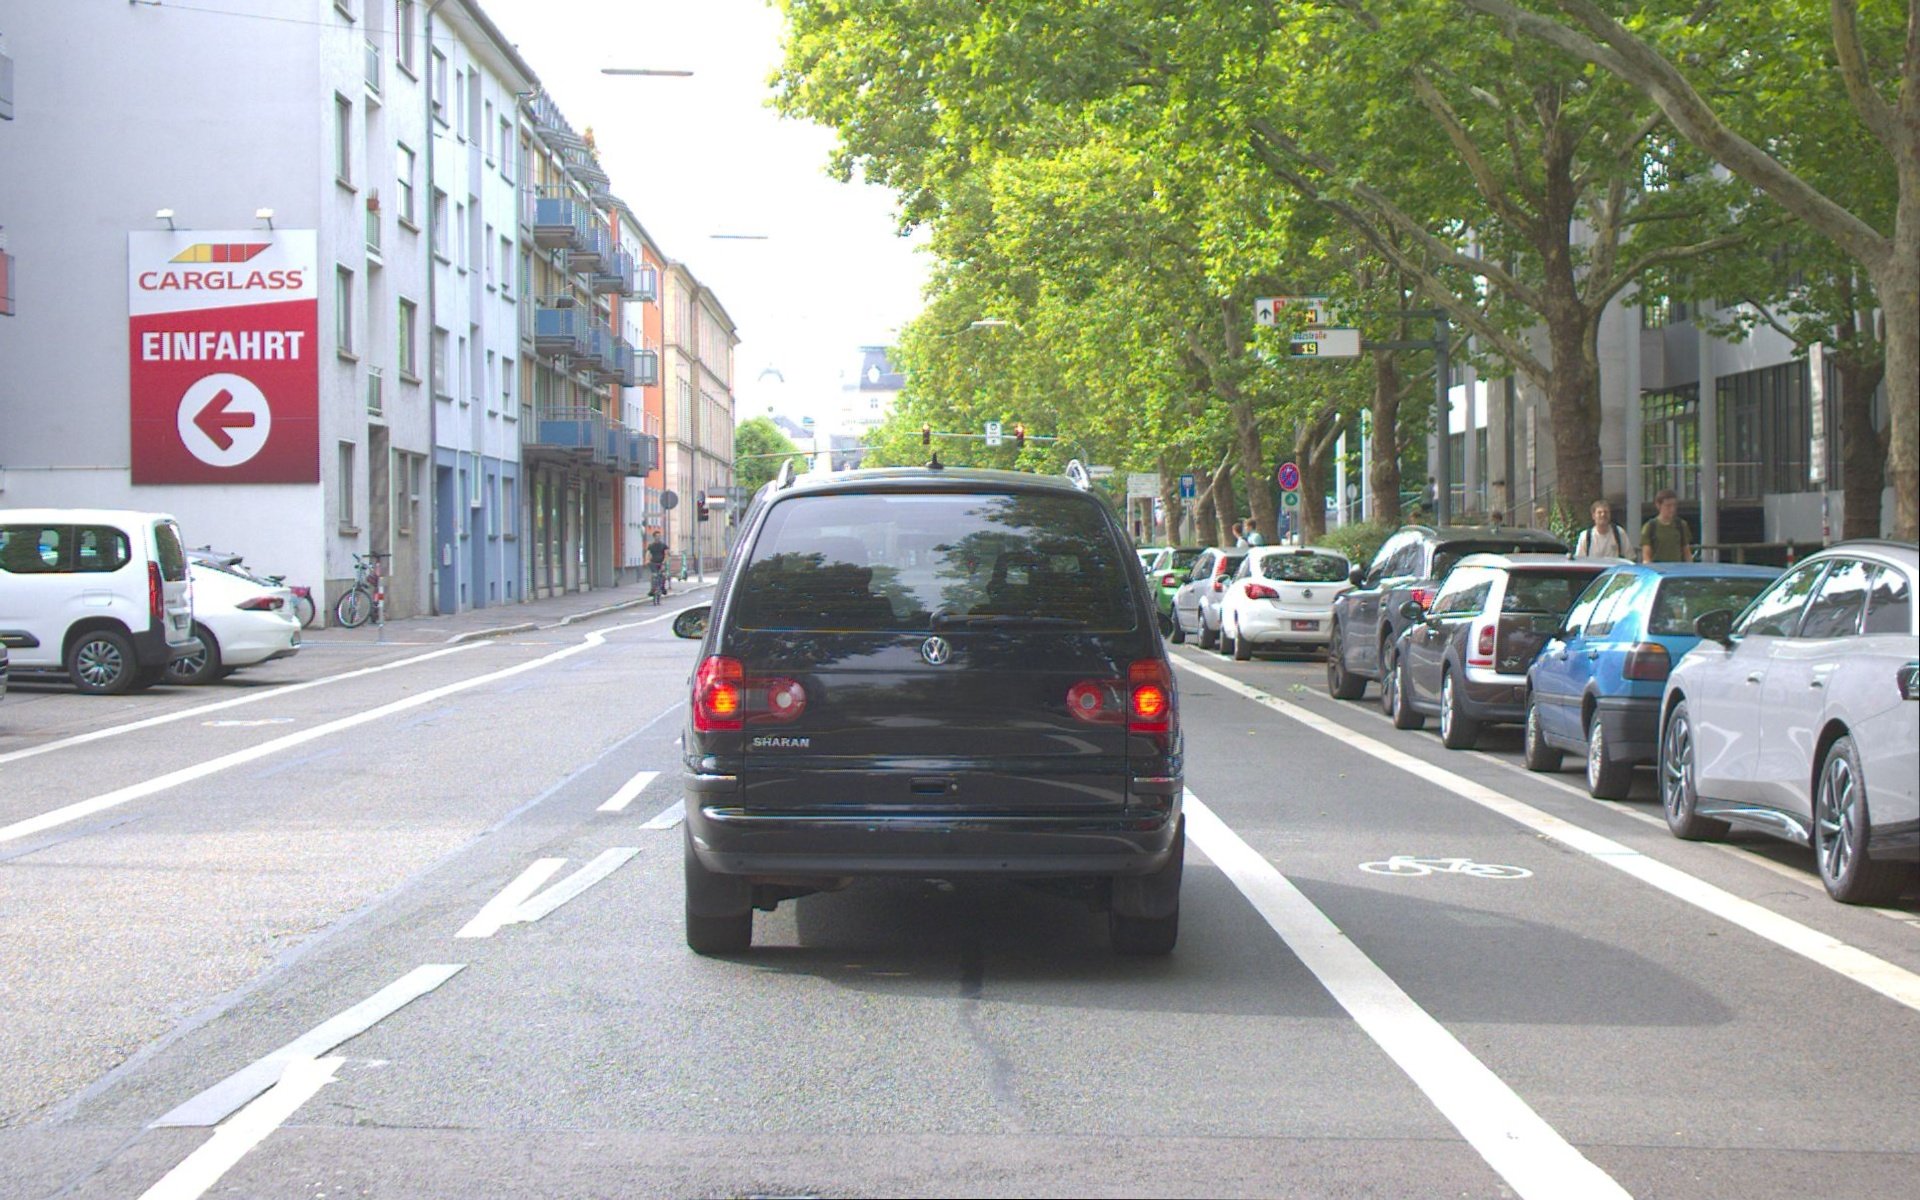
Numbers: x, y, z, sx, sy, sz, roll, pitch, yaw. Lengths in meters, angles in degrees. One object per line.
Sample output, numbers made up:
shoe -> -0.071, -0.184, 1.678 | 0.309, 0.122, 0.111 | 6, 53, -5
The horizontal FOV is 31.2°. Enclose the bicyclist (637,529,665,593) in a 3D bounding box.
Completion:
bicyclist -> -7.984, -1.003, 88.860 | 0.653, 1.606, 0.656 | 1, -2, -3

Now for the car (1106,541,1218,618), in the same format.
car -> 3.830, -0.410, 65.692 | 1.641, 1.390, 3.513 | 2, 1, -4

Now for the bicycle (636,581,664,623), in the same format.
bicycle -> -7.985, 0.057, 88.614 | 0.631, 1.030, 2.015 | 1, -2, -3

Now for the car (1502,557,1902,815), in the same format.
car -> 4.516, 0.459, 21.465 | 1.622, 1.381, 4.000 | 2, 1, 1

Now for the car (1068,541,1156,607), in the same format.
car -> 3.546, -0.626, 80.536 | 1.641, 1.482, 3.513 | 0, 1, -4

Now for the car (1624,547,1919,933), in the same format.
car -> 4.483, 0.528, 15.922 | 1.727, 1.511, 4.872 | 1, 1, -2

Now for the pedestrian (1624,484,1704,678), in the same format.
pedestrian -> 7.268, -0.206, 35.527 | 0.643, 1.968, 0.692 | 1, 2, 1

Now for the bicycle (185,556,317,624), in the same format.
bicycle -> -11.238, -0.164, 54.500 | 2.009, 1.030, 0.410 | 1, 2, 1

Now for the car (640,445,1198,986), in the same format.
car -> -0.183, 0.360, 13.129 | 1.812, 1.760, 3.738 | 0, 1, -2

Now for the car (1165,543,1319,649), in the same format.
car -> 3.994, -0.084, 49.198 | 1.641, 1.409, 3.417 | 2, 1, -4

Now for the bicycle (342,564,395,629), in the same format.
bicycle -> -9.644, -0.064, 56.075 | 0.631, 1.030, 2.015 | 1, 1, -4

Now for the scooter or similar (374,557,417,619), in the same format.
scooter or similar -> -9.662, -0.216, 58.898 | 0.631, 1.030, 2.016 | 0, 1, -7

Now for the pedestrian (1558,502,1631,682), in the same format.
pedestrian -> 6.581, -0.096, 35.680 | 0.587, 1.832, 0.692 | 1, 2, 1

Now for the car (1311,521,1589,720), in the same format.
car -> 4.395, 0.134, 31.481 | 1.668, 1.635, 4.504 | 2, 1, -2

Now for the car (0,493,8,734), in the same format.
car -> -9.702, 0.056, 25.749 | 4.526, 1.872, 2.047 | 2, 1, 0

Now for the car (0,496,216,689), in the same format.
car -> -9.927, -0.122, 34.948 | 4.307, 1.863, 1.824 | 2, 0, -2

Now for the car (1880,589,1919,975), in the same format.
car -> 4.348, 0.678, 10.669 | 1.675, 1.389, 4.461 | 0, 1, -2

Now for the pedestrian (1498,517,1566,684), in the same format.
pedestrian -> 5.925, 0.002, 35.623 | 0.587, 1.696, 0.508 | 1, 2, 1

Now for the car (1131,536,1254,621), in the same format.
car -> 4.066, -0.404, 60.540 | 1.641, 1.409, 3.417 | 2, 1, -4

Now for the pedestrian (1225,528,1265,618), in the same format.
pedestrian -> 5.851, -0.555, 70.562 | 0.767, 1.825, 0.516 | 0, 1, 0

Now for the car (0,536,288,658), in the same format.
car -> -10.057, -0.049, 42.144 | 3.342, 1.397, 1.504 | 1, 0, -2

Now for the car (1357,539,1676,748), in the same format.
car -> 4.161, 0.282, 26.311 | 1.630, 1.465, 4.318 | 0, 1, -2

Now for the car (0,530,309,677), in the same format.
car -> -8.869, 0.032, 37.254 | 3.342, 1.491, 1.596 | 1, 0, -2

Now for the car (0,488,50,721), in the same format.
car -> -10.254, -0.051, 28.376 | 4.916, 1.897, 2.000 | 2, 1, -1

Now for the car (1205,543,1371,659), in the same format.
car -> 4.223, -0.017, 44.786 | 1.675, 1.389, 4.461 | 2, 1, 0
